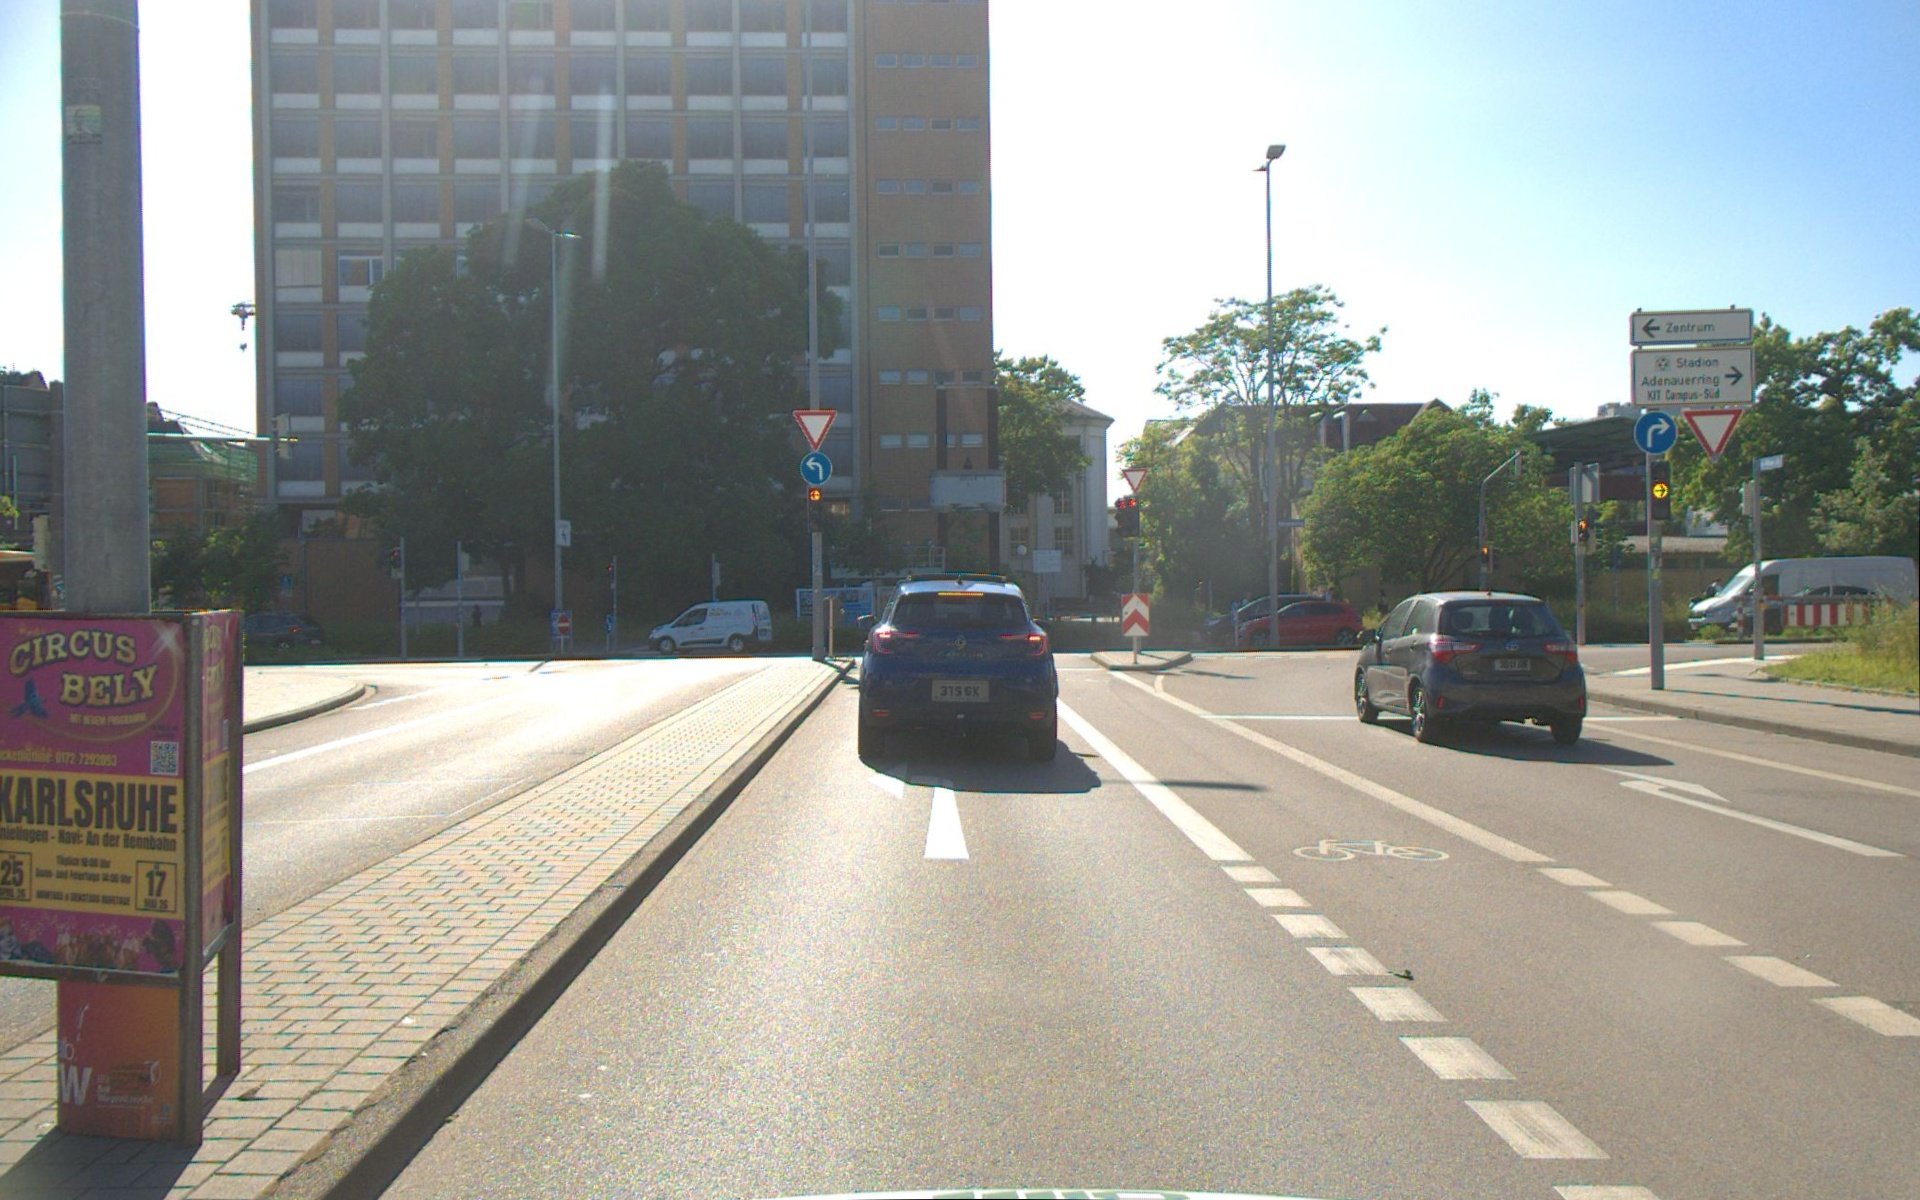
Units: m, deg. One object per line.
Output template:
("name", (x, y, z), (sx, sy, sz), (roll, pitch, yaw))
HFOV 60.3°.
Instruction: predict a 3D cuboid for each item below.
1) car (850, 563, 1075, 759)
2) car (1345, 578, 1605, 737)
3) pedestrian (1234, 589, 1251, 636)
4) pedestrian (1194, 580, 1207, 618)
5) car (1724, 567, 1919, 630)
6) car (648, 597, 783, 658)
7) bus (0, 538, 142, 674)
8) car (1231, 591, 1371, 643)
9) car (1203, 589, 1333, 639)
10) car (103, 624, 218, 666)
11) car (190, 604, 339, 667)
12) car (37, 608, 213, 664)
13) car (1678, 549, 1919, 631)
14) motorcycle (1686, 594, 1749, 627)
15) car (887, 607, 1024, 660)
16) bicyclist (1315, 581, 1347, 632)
("car", (-0.094, 0.526, 15.684), (1.788, 1.628, 3.654), (1, 0, -6))
("car", (5.494, 0.590, 18.107), (1.720, 1.569, 3.658), (0, -1, 0))
("pedestrian", (10.441, 0.467, 61.089), (0.548, 1.699, 0.477), (-1, -2, 14))
("pedestrian", (10.953, -0.047, 75.387), (0.564, 1.699, 0.562), (-1, -2, 9))
("car", (25.540, -0.047, 49.089), (4.750, 1.777, 2.075), (-1, 0, 4))
("car", (-8.517, 0.963, 57.770), (4.255, 2.049, 2.001), (-1, -2, 10))
("bus", (-28.529, 0.259, 45.484), (12.143, 3.455, 2.884), (-1, -2, 17))
("car", (10.109, 0.502, 49.244), (3.902, 1.490, 2.001), (-1, 0, 6))
("car", (9.760, 0.436, 52.675), (3.902, 1.489, 2.001), (-1, 0, 6))
("car", (-31.337, 1.770, 64.862), (3.813, 1.614, 1.880), (-1, -2, 18))
("car", (-23.589, 1.220, 56.157), (4.278, 2.049, 2.001), (-1, -2, 11))
("car", (-23.940, 1.037, 47.473), (4.303, 1.548, 1.971), (-1, -2, 16))
("car", (26.716, -0.314, 52.380), (7.003, 2.465, 2.075), (-1, 0, 4))
("motorcycle", (27.351, 0.392, 59.715), (2.006, 1.156, 0.670), (-1, -2, 21))
("car", (-0.121, 1.068, 52.213), (4.027, 1.614, 1.881), (-1, -1, 10))
("bicyclist", (13.843, 0.236, 61.721), (0.844, 1.879, 0.845), (-2, -2, 45))
